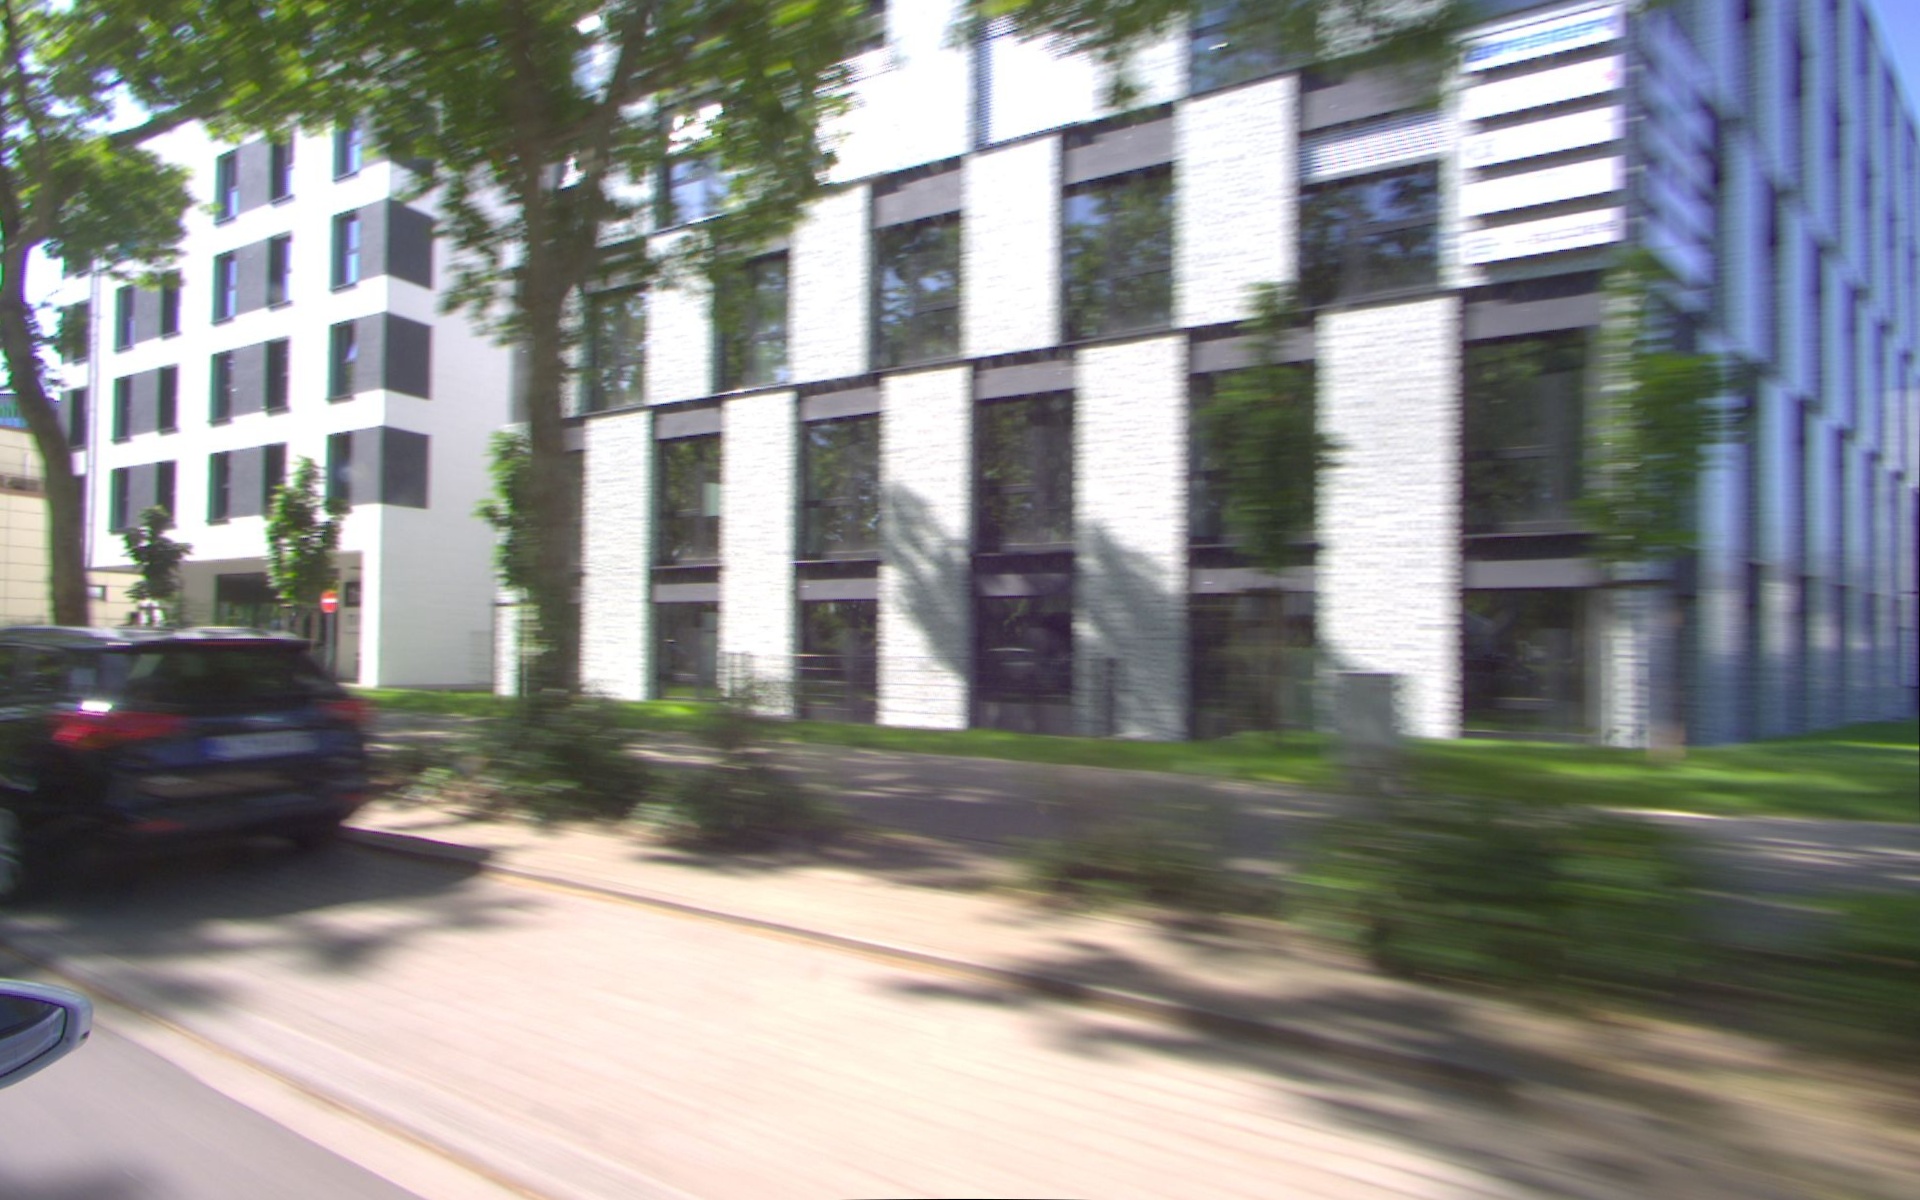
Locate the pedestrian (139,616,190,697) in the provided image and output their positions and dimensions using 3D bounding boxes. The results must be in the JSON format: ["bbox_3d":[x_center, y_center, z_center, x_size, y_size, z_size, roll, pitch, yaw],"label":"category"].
[{"bbox_3d":[-15.979,1.131,20.109,0.562,1.601,0.612,-1,-2,30],"label":"pedestrian"}]

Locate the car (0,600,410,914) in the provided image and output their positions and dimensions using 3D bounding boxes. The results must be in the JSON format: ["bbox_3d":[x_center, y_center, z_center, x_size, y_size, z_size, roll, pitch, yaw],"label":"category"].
[{"bbox_3d":[-5.926,0.805,6.658,4.645,1.507,1.706,-1,-1,28],"label":"car"}]

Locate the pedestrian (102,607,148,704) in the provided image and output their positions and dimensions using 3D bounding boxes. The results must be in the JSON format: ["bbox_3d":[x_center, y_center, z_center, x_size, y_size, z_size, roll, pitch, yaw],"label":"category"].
[{"bbox_3d":[-16.152,1.072,19.377,0.628,1.831,0.475,-1,-2,31],"label":"pedestrian"}]

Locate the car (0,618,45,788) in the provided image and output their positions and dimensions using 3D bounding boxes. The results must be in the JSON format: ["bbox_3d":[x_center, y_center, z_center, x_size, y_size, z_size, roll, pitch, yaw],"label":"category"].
[{"bbox_3d":[-10.561,0.927,9.506,4.041,1.506,1.704,-1,-2,32],"label":"car"}]
